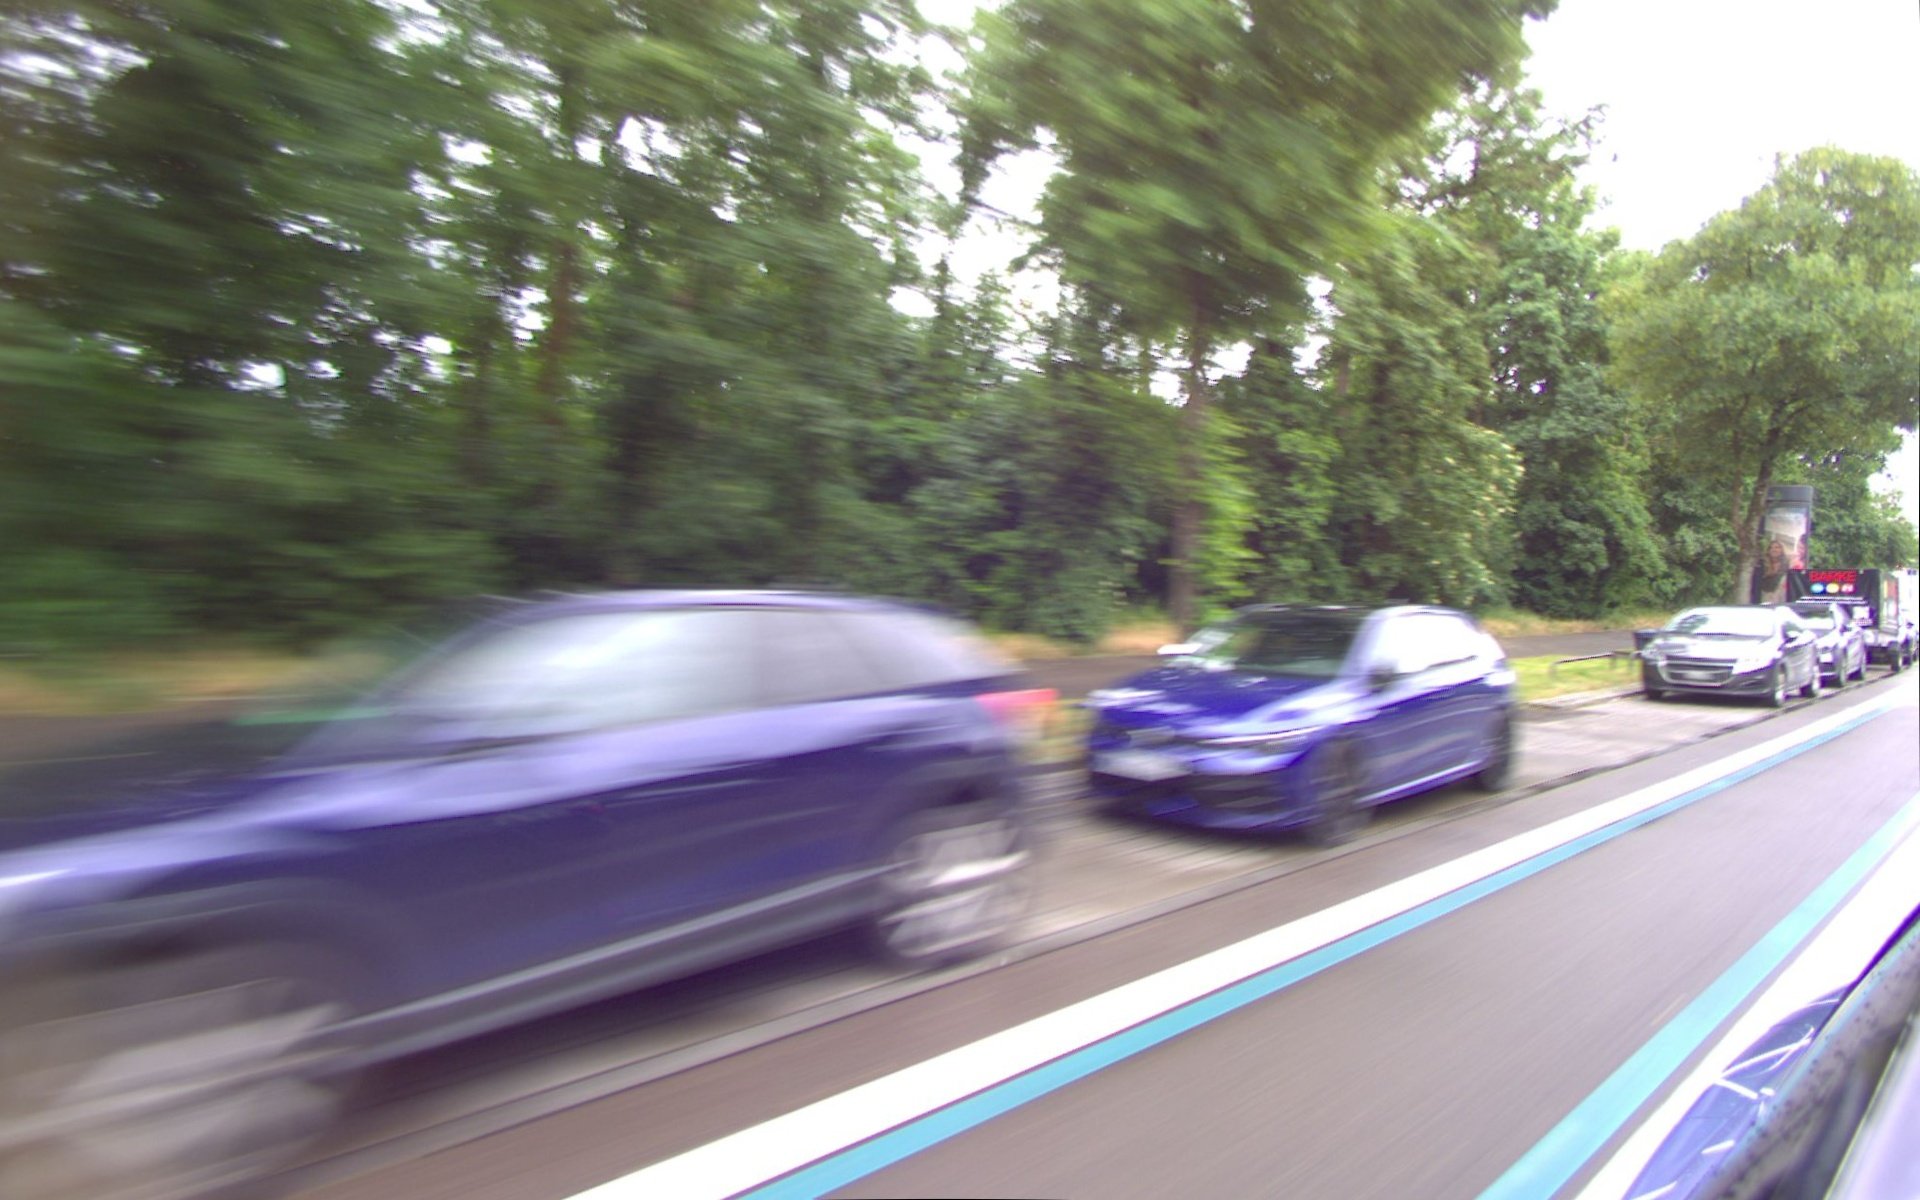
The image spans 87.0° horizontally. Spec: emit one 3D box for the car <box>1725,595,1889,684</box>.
[{"bbox_3d":[16.282,0.669,19.380,4.352,1.468,1.798,0,2,-42],"label":"car"}]

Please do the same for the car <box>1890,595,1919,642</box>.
[{"bbox_3d":[32.370,0.600,33.911,1.618,1.485,3.936,0,0,45],"label":"car"}]

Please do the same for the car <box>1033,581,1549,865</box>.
[{"bbox_3d":[2.618,0.645,7.403,4.243,1.500,1.684,0,0,-42],"label":"car"}]

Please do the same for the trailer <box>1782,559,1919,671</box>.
[{"bbox_3d":[20.269,0.283,22.869,4.685,2.276,1.909,0,1,-42],"label":"trailer"}]

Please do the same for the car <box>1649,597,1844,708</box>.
[{"bbox_3d":[12.187,0.702,15.594,3.930,1.489,1.618,0,0,-40],"label":"car"}]

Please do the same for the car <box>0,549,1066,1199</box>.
[{"bbox_3d":[-1.563,0.638,3.687,3.908,1.532,1.716,0,1,-42],"label":"car"}]

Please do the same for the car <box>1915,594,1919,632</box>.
[{"bbox_3d":[39.291,0.494,40.398,3.615,1.478,1.561,-1,1,-44],"label":"car"}]

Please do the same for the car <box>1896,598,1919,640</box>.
[{"bbox_3d":[35.334,0.669,36.702,3.833,1.484,1.661,0,-1,-42],"label":"car"}]

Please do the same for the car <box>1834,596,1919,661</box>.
[{"bbox_3d":[23.690,0.670,25.759,4.131,1.504,1.823,0,-1,-44],"label":"car"}]

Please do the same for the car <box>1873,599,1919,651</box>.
[{"bbox_3d":[28.157,0.695,29.695,4.373,1.411,1.752,-1,0,-44],"label":"car"}]
